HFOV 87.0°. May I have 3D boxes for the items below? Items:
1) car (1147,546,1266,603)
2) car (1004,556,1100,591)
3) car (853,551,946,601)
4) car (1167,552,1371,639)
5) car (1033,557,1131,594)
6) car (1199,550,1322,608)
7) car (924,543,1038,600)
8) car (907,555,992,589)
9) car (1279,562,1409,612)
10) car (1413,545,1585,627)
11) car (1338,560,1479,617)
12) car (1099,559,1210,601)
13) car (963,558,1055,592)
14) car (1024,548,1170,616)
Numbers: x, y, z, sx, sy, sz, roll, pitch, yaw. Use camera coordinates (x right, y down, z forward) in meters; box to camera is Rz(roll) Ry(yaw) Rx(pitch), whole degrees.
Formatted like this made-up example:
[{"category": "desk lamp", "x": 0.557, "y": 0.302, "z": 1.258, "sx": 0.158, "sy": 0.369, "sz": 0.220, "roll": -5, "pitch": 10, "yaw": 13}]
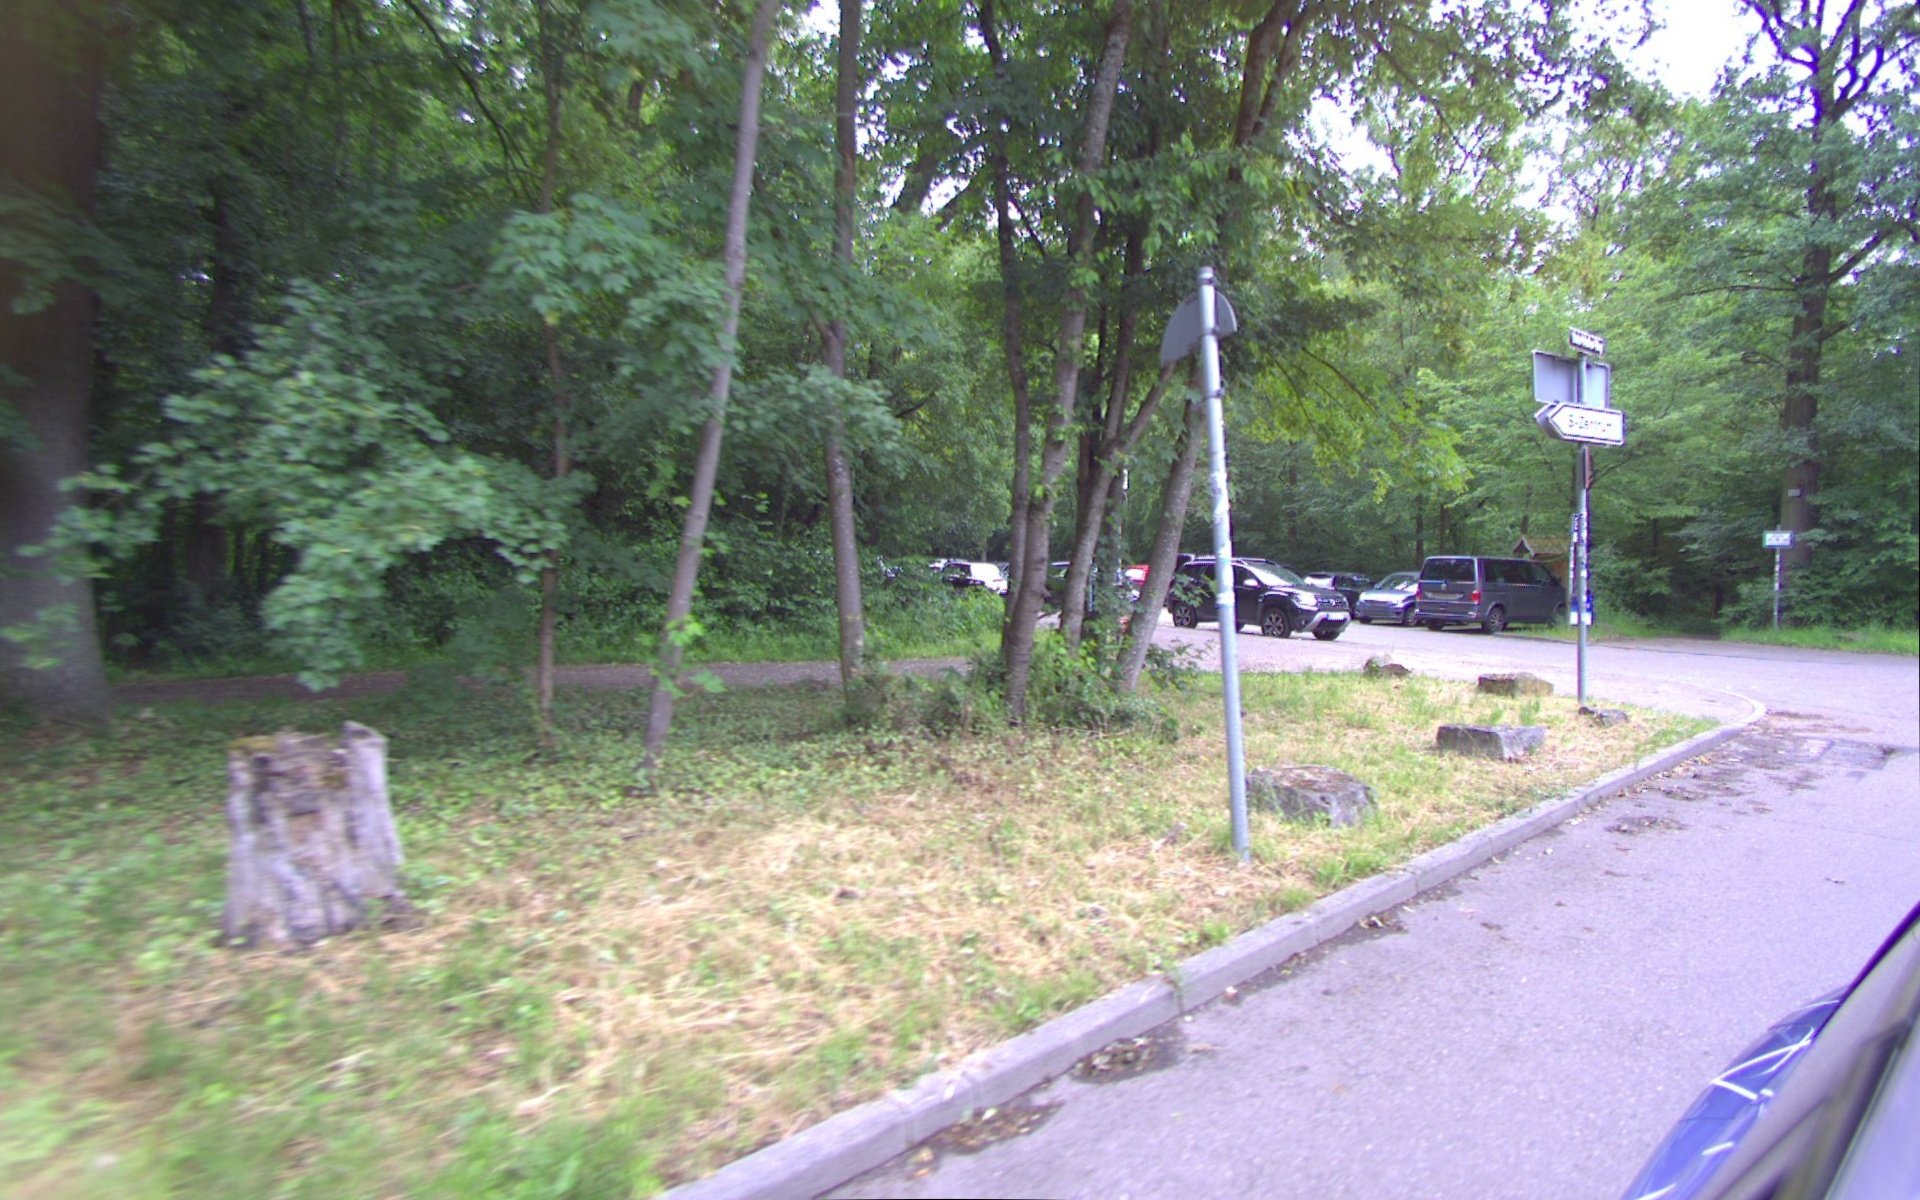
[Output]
[{"category": "car", "x": 8.665, "y": -0.935, "z": 35.508, "sx": 3.922, "sy": 1.885, "sz": 1.815, "roll": -1, "pitch": 3, "yaw": -33}, {"category": "car", "x": 4.011, "y": -1.170, "z": 43.991, "sx": 3.922, "sy": 1.455, "sz": 1.735, "roll": -1, "pitch": 3, "yaw": -33}, {"category": "car", "x": -2.277, "y": -0.921, "z": 36.854, "sx": 1.706, "sy": 1.653, "sz": 4.383, "roll": 0, "pitch": 3, "yaw": -28}, {"category": "car", "x": 6.537, "y": -0.172, "z": 21.888, "sx": 1.779, "sy": 1.653, "sz": 4.106, "roll": 0, "pitch": 3, "yaw": -29}, {"category": "car", "x": 5.086, "y": -1.027, "z": 42.042, "sx": 3.922, "sy": 1.455, "sz": 1.619, "roll": -1, "pitch": 3, "yaw": -33}, {"category": "car", "x": 9.942, "y": -0.728, "z": 33.436, "sx": 3.924, "sy": 1.787, "sz": 1.825, "roll": -1, "pitch": 3, "yaw": -34}, {"category": "car", "x": 0.576, "y": -0.928, "z": 31.799, "sx": 1.779, "sy": 1.653, "sz": 4.005, "roll": 0, "pitch": 3, "yaw": -29}, {"category": "car", "x": -0.502, "y": -1.381, "z": 50.284, "sx": 3.922, "sy": 1.569, "sz": 1.716, "roll": 0, "pitch": 2, "yaw": -33}, {"category": "car", "x": 11.945, "y": -0.432, "z": 31.442, "sx": 3.922, "sy": 1.447, "sz": 1.722, "roll": -1, "pitch": 3, "yaw": -32}, {"category": "car", "x": 14.233, "y": -0.370, "z": 26.665, "sx": 4.426, "sy": 2.002, "sz": 1.893, "roll": 1, "pitch": 2, "yaw": -30}, {"category": "car", "x": 12.906, "y": -0.326, "z": 29.114, "sx": 3.750, "sy": 1.531, "sz": 1.812, "roll": 1, "pitch": 2, "yaw": -30}, {"category": "car", "x": 7.207, "y": -0.730, "z": 37.439, "sx": 3.923, "sy": 1.494, "sz": 1.780, "roll": 0, "pitch": 2, "yaw": -35}, {"category": "car", "x": 2.254, "y": -1.123, "z": 46.234, "sx": 3.922, "sy": 1.456, "sz": 1.716, "roll": 0, "pitch": 2, "yaw": -33}, {"category": "car", "x": 3.559, "y": -0.541, "z": 27.035, "sx": 1.779, "sy": 1.653, "sz": 4.005, "roll": 0, "pitch": 3, "yaw": -29}]
